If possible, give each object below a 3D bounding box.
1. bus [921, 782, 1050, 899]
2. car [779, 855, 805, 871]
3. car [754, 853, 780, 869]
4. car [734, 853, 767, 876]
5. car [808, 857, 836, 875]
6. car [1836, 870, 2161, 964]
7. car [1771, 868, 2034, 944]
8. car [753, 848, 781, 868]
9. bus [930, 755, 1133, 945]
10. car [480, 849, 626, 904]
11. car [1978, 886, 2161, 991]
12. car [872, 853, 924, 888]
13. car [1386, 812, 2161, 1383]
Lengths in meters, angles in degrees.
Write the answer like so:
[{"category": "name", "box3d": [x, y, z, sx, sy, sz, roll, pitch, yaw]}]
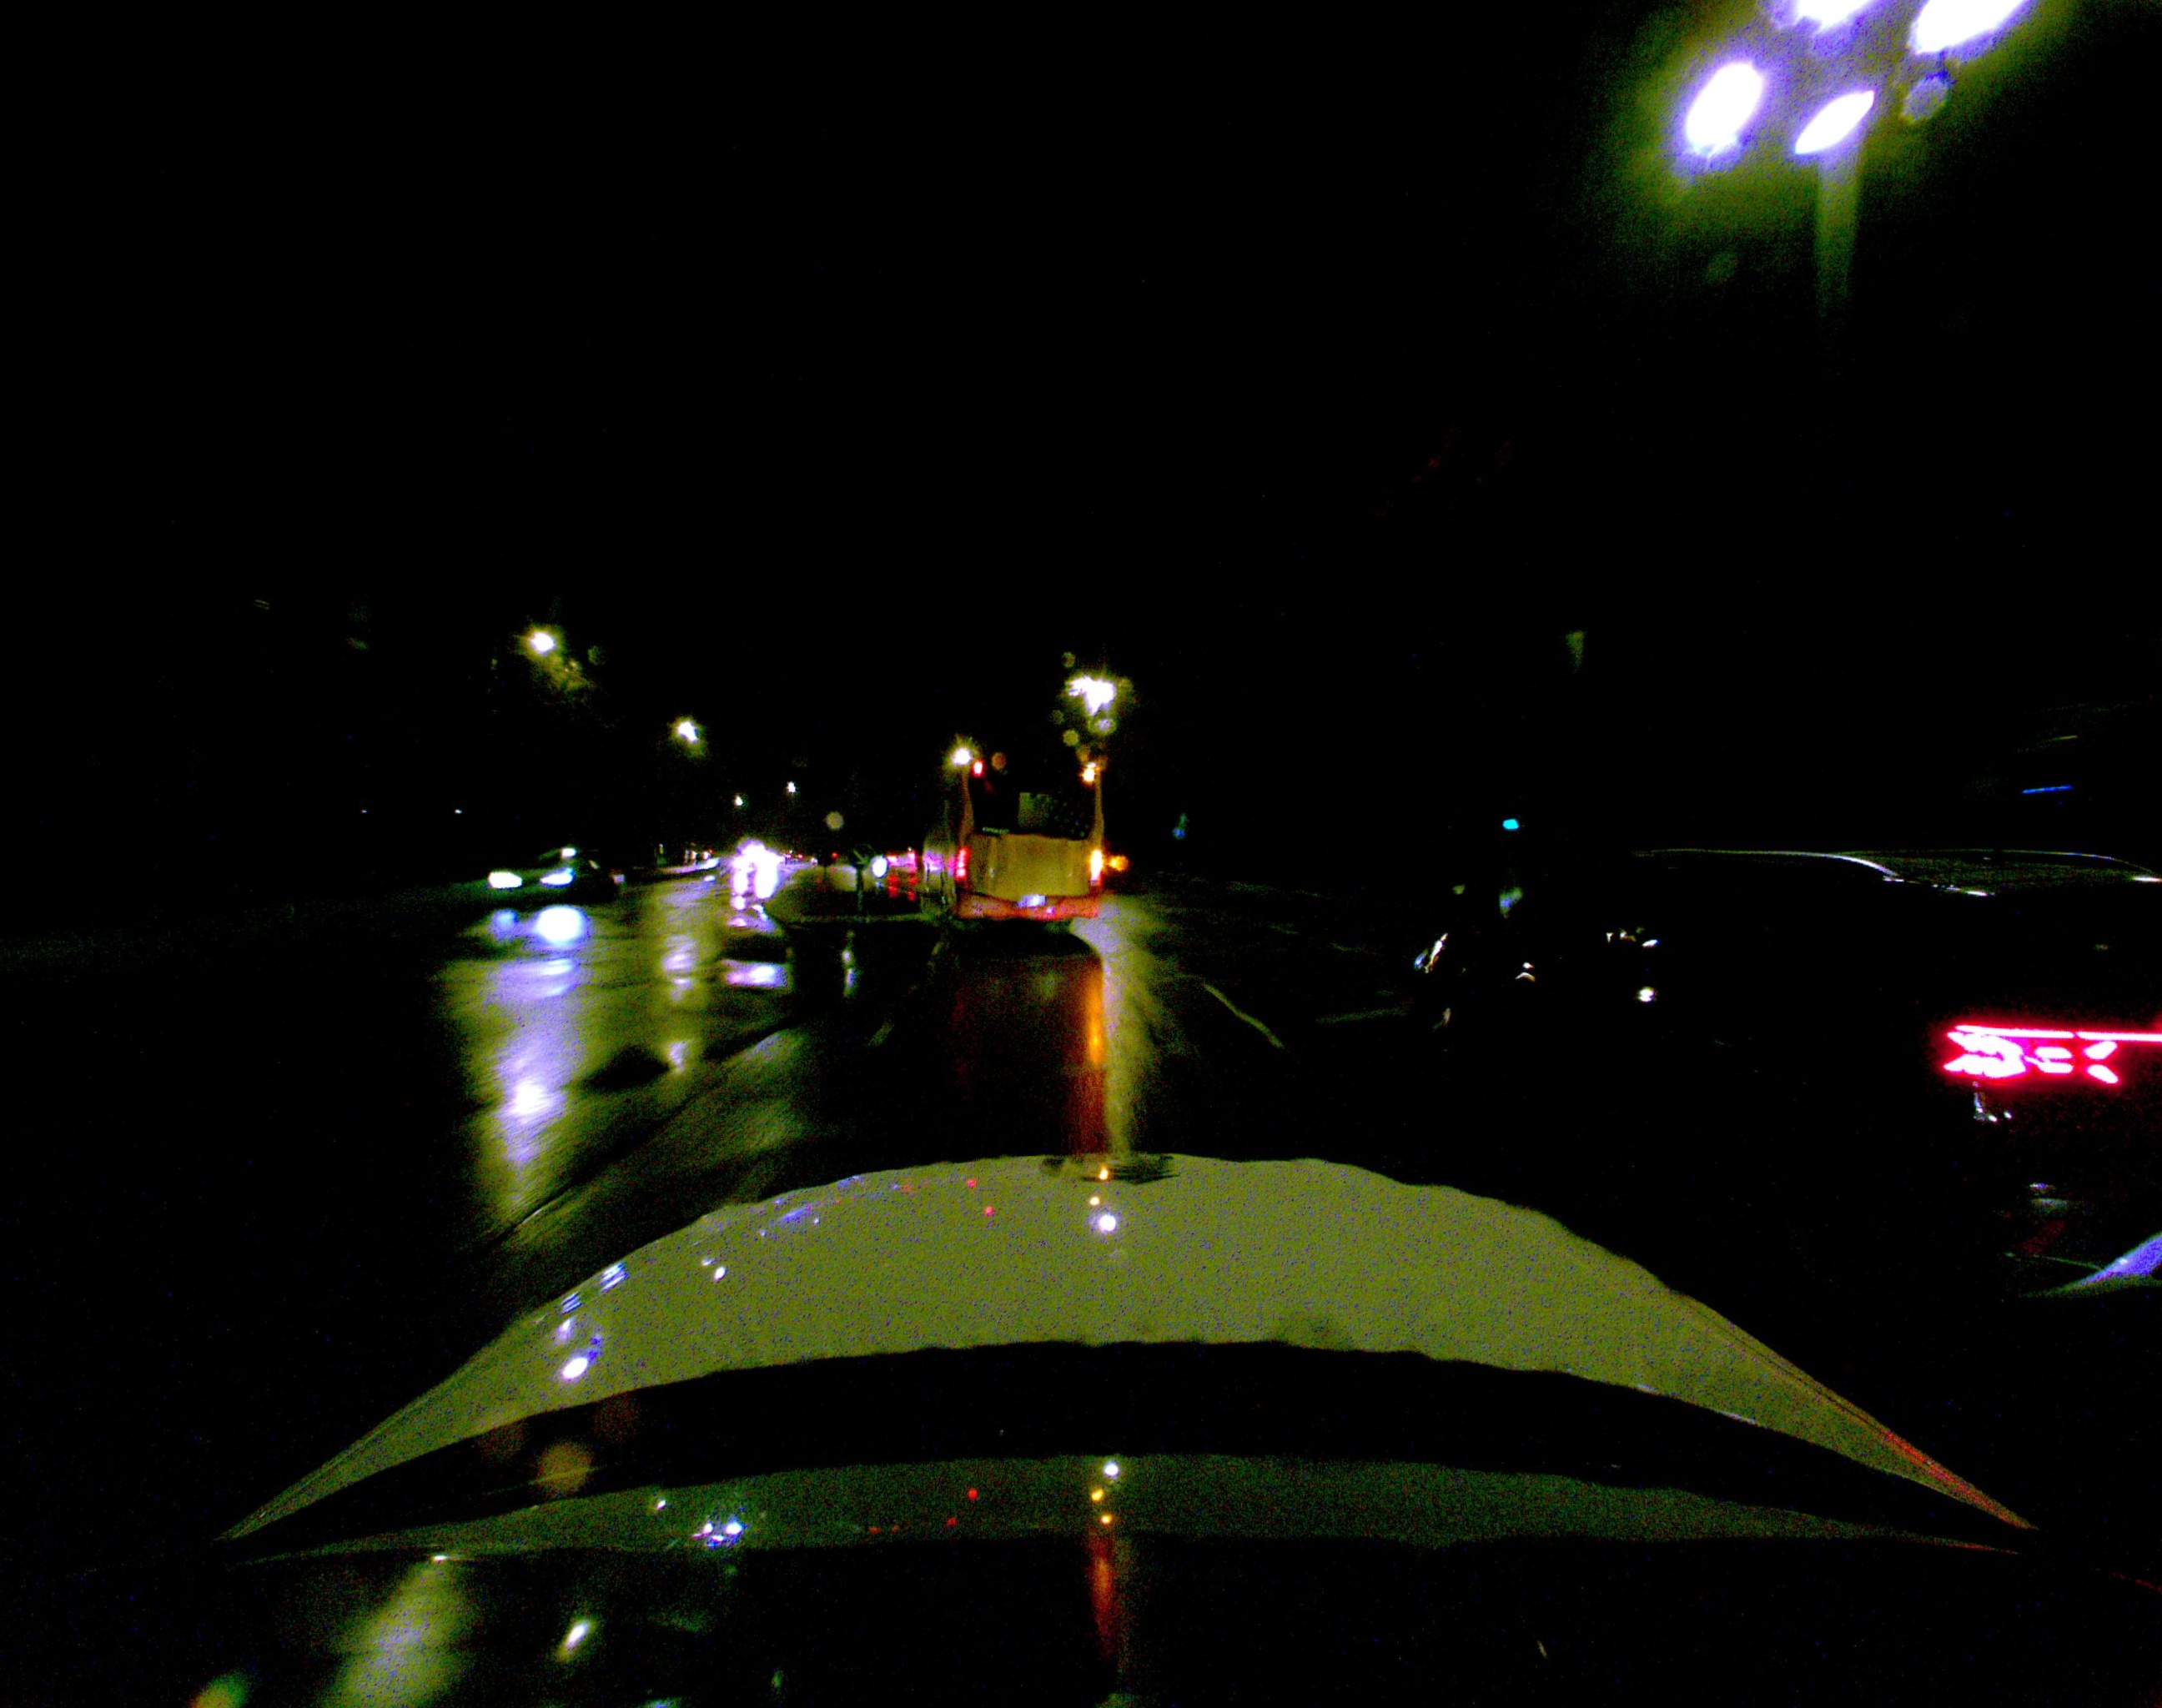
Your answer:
[{"category": "bus", "box3d": [-3.455, -0.407, 26.872, 3.250, 3.120, 8.608, 2, 0, -13]}, {"category": "car", "box3d": [-31.040, 0.919, 87.362, 1.827, 1.618, 3.961, 3, -2, -30]}, {"category": "car", "box3d": [-37.717, 0.819, 97.670, 2.103, 1.644, 3.692, 6, -2, -33]}, {"category": "car", "box3d": [-23.119, 0.739, 57.142, 1.829, 1.448, 4.630, 2, -2, -19]}, {"category": "car", "box3d": [-23.768, 1.107, 74.724, 1.825, 1.618, 3.966, 2, -2, -26]}, {"category": "car", "box3d": [17.875, 1.167, 15.834, 4.461, 1.519, 1.860, 2, 1, 5]}, {"category": "car", "box3d": [19.200, 1.181, 19.209, 4.144, 1.519, 1.860, 2, 1, 5]}, {"category": "car", "box3d": [-26.902, 0.343, 69.902, 1.885, 1.607, 4.632, 1, 0, -18]}, {"category": "bus", "box3d": [-1.611, -0.196, 18.010, 3.286, 3.049, 9.512, 1, 2, -10]}, {"category": "car", "box3d": [-14.818, 0.586, 23.148, 1.805, 1.353, 4.133, -2, 0, -7]}, {"category": "car", "box3d": [16.221, 1.242, 11.933, 4.023, 1.345, 1.750, 2, 1, 5]}, {"category": "car", "box3d": [-11.387, 1.031, 50.514, 2.005, 2.014, 4.308, 3, -2, -28]}, {"category": "car", "box3d": [3.227, 0.721, 4.215, 1.673, 1.522, 3.956, 2, -2, -3]}]
